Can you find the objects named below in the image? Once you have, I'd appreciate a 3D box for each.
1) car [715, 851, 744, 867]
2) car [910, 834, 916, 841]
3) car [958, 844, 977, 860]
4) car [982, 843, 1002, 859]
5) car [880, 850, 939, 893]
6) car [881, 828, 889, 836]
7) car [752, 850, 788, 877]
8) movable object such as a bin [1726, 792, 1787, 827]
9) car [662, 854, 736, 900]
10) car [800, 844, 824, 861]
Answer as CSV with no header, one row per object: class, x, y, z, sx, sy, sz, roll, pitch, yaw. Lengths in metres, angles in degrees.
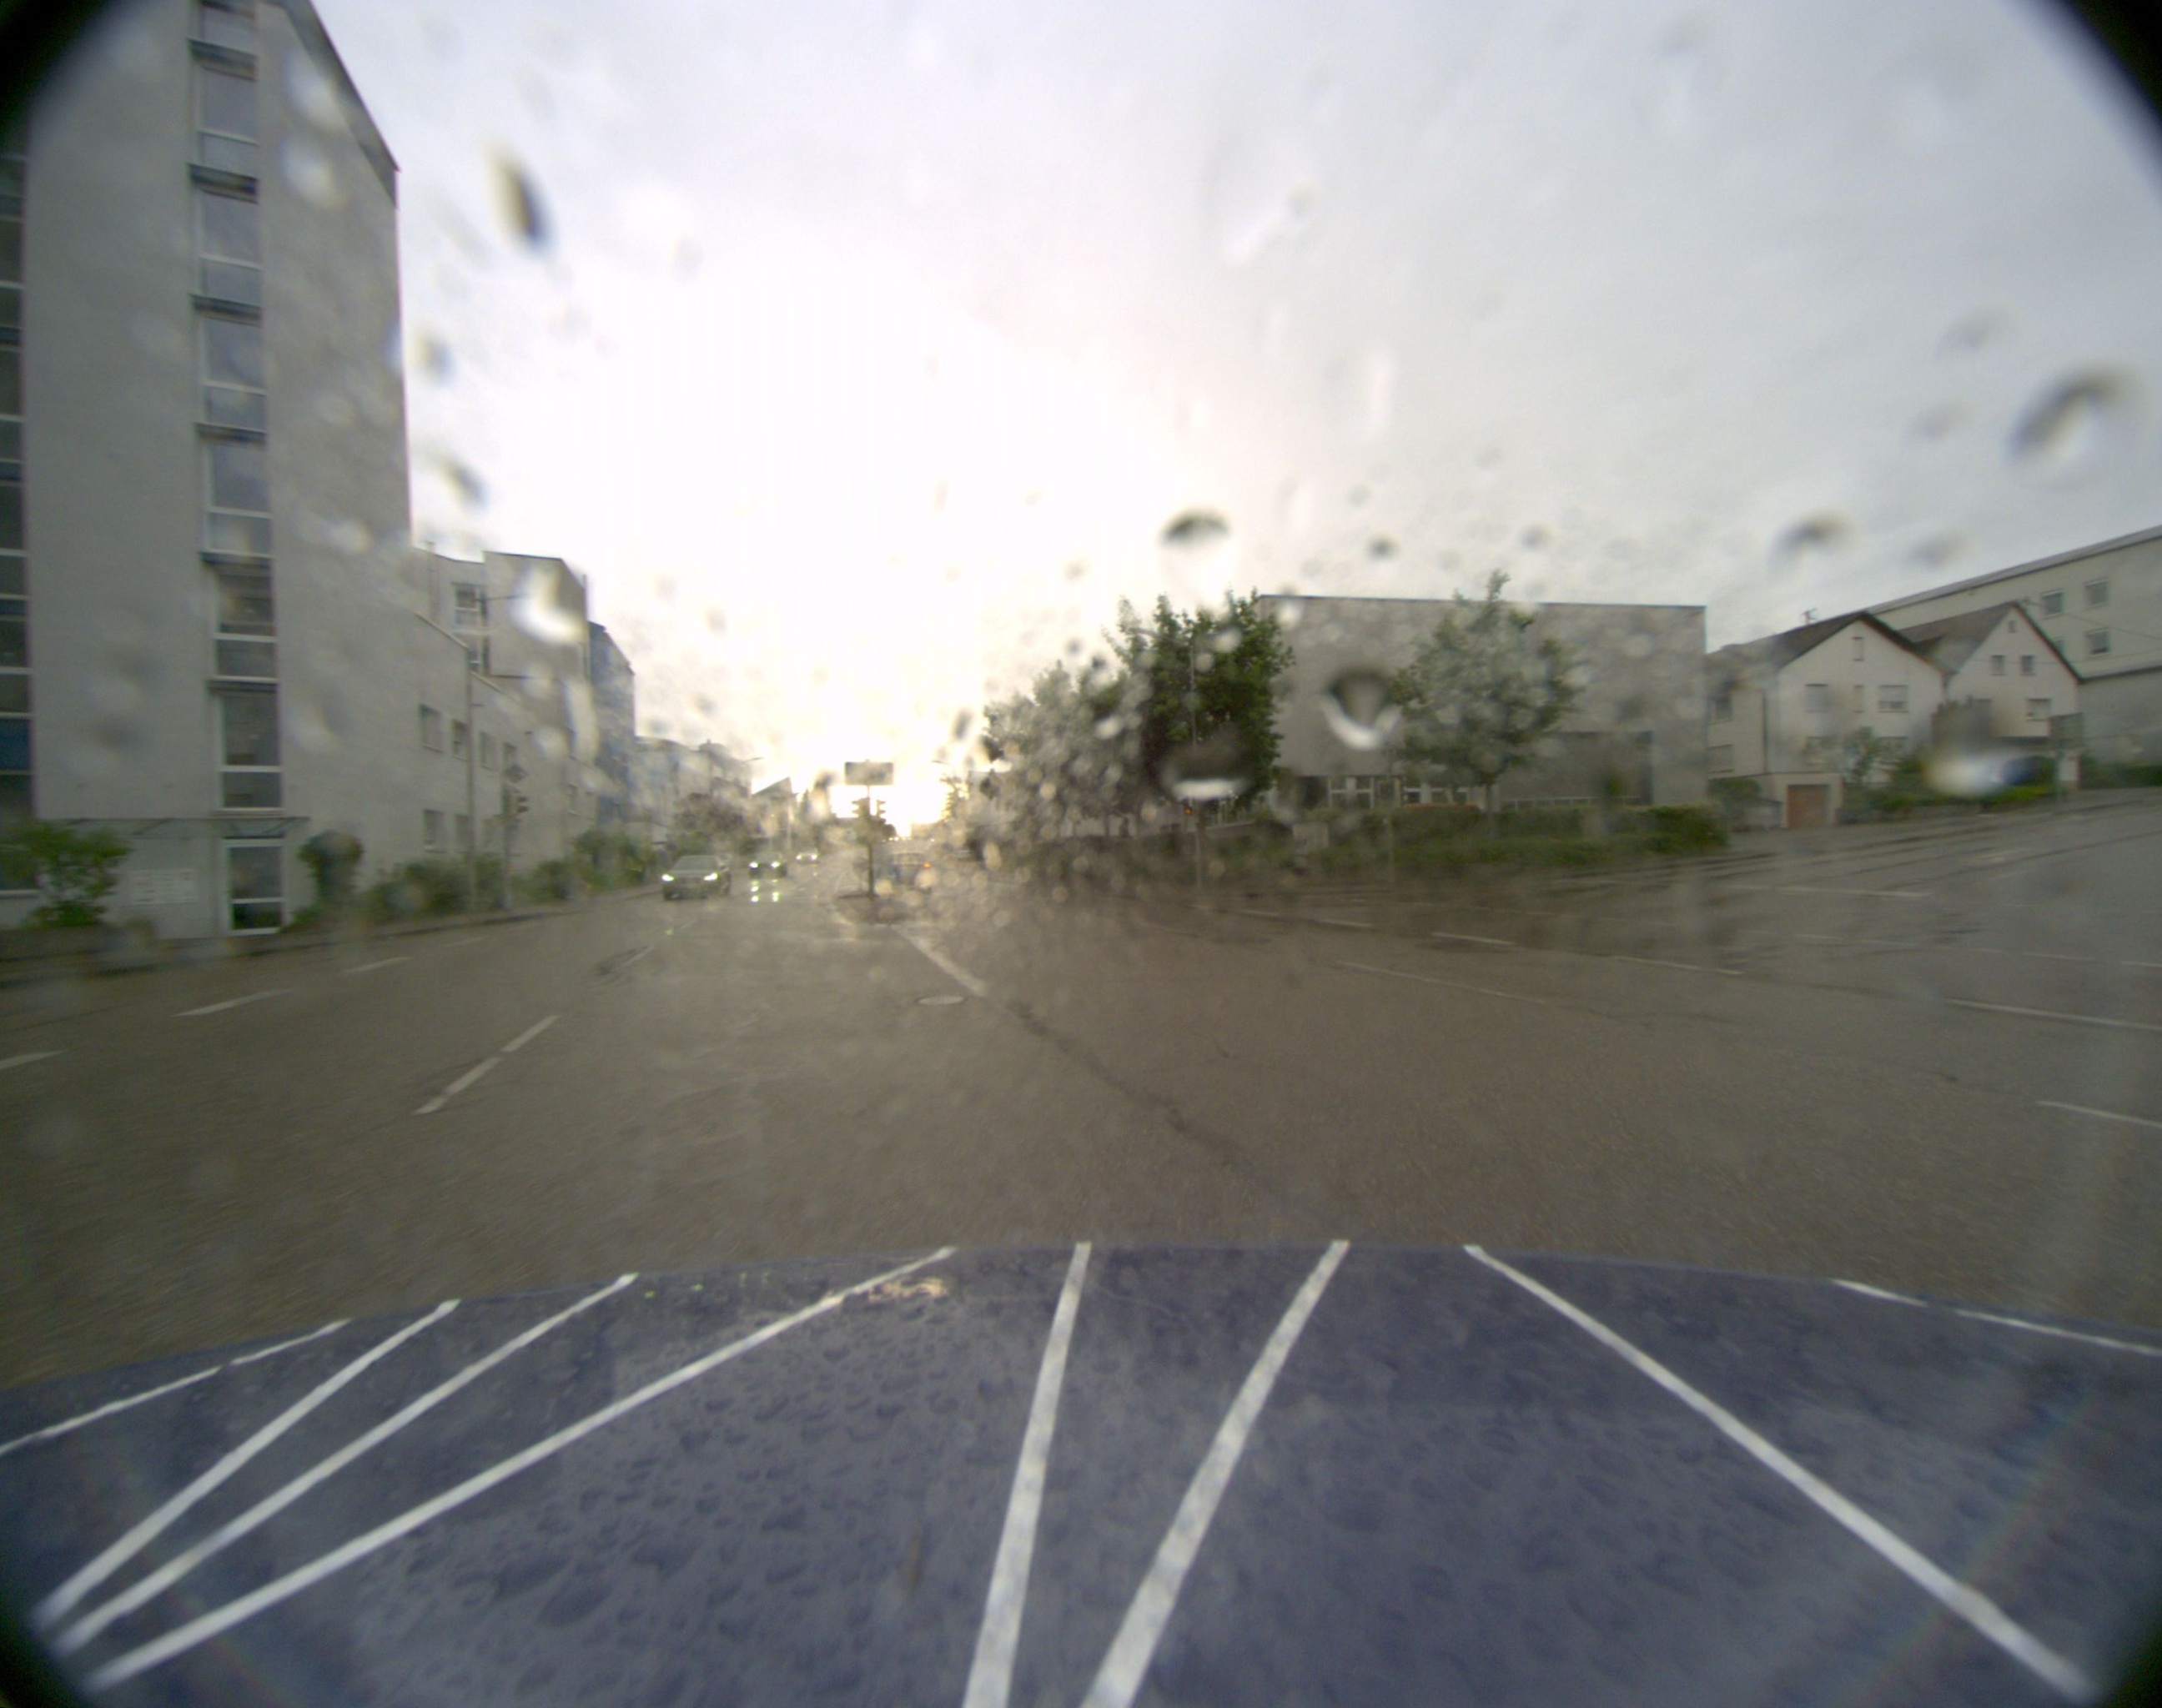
car,-32.610,0.454,70.636,1.660,1.280,3.876,-3,1,-14
car,-47.719,-4.699,215.863,1.831,1.677,3.995,-1,1,-13
car,-10.964,-0.208,73.512,1.738,1.470,4.017,-2,1,-8
car,-8.746,-0.346,74.341,1.738,1.470,4.017,-2,1,-8
car,-7.297,0.678,32.128,1.696,1.546,3.898,-4,2,-23
car,-54.584,-6.240,211.900,2.000,2.003,3.994,-6,3,-13
car,-19.347,0.556,47.344,1.756,1.470,3.993,-3,1,-19
movable object such as a bin,31.913,-2.097,35.927,1.589,1.527,1.447,-3,2,-8
car,-13.827,0.777,27.694,1.743,1.477,4.142,-2,1,-18
car,-26.101,-0.191,73.829,1.901,1.536,4.014,-3,1,-17
